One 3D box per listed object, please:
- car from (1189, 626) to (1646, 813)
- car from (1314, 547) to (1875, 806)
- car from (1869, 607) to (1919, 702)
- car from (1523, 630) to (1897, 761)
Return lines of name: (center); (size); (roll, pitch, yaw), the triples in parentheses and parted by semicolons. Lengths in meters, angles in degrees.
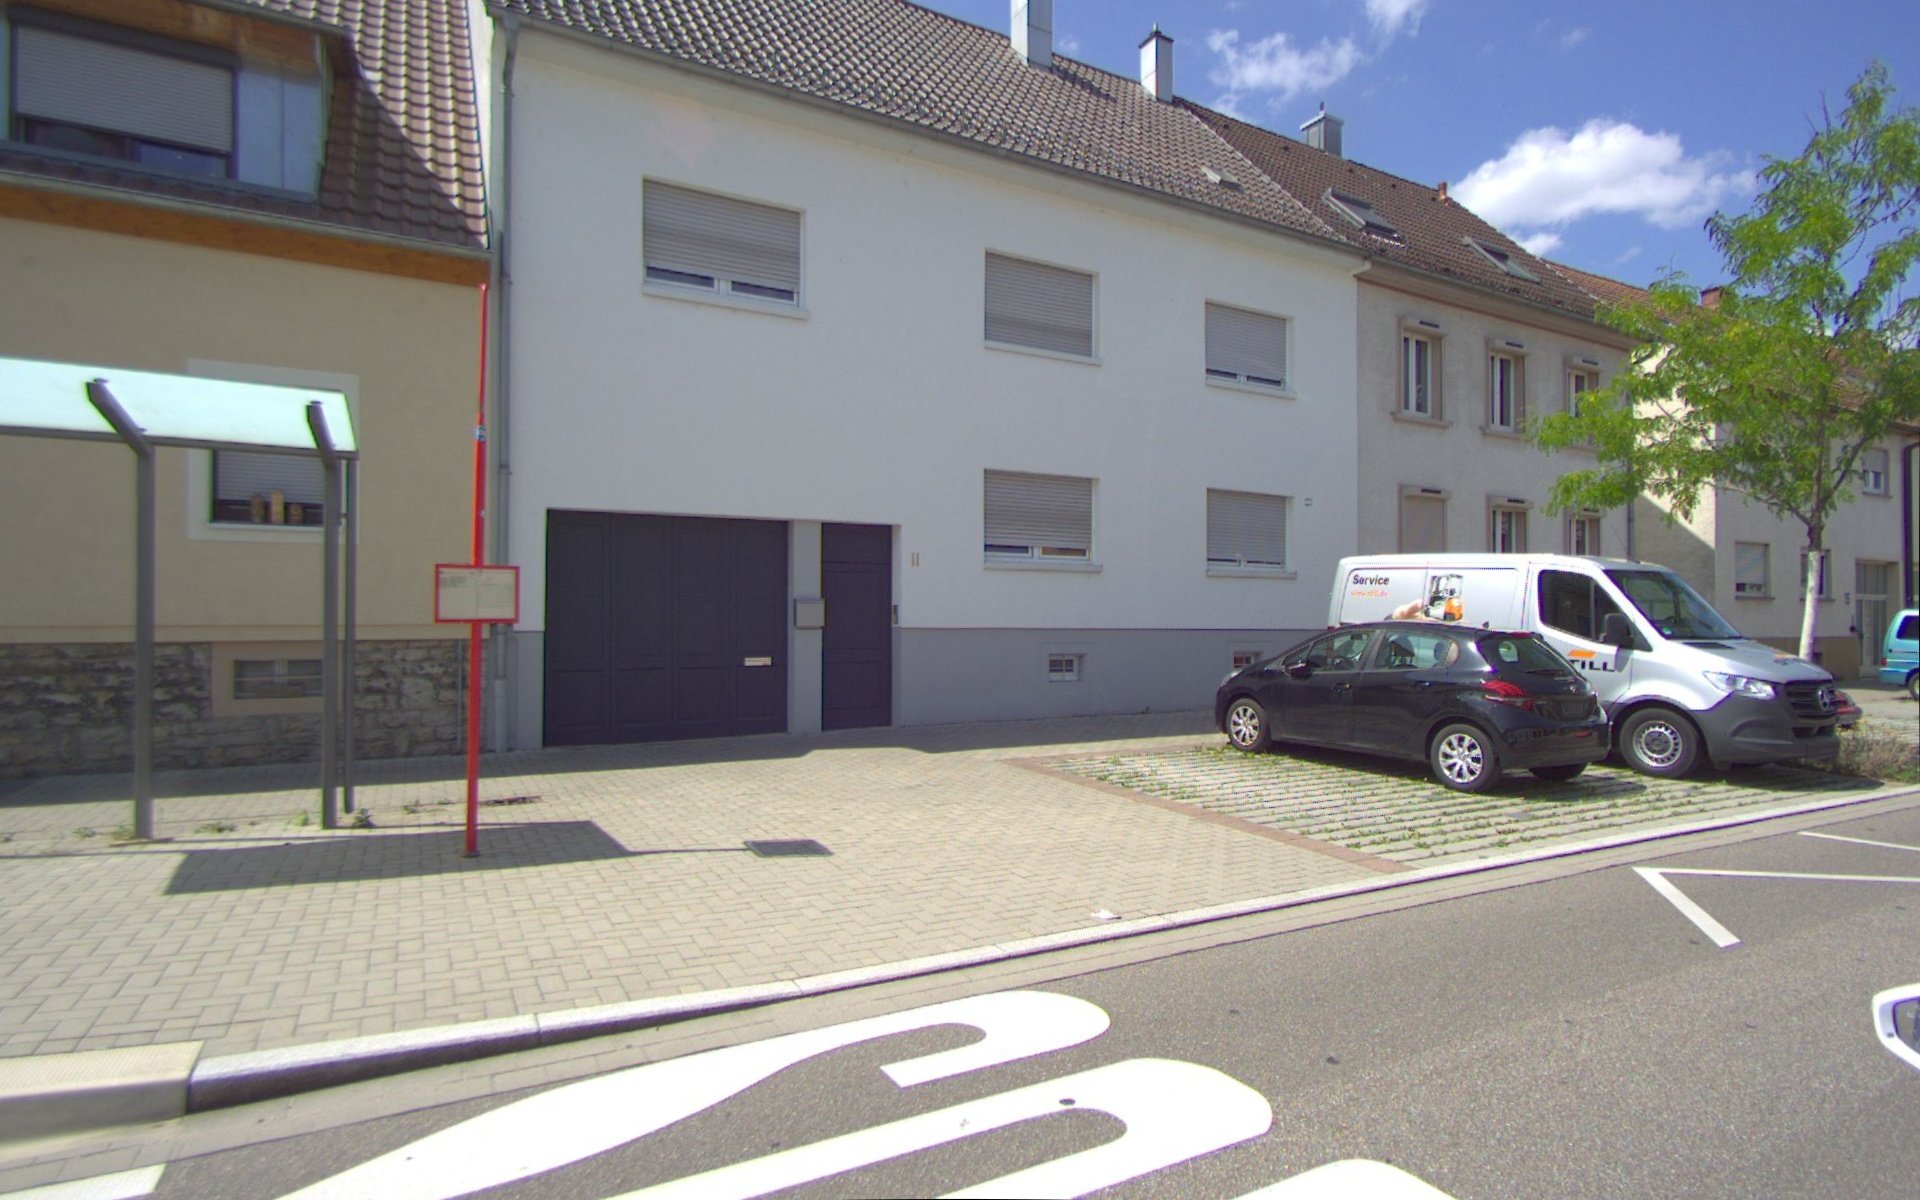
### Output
car: (4.467, 1.038, 10.402); (1.880, 1.465, 3.967); (1, -1, -31)
car: (6.956, 0.682, 11.756); (2.132, 2.319, 5.141); (1, 0, -30)
car: (21.143, 1.163, 19.589); (1.975, 1.932, 4.658); (2, 0, -28)
car: (10.094, 1.191, 13.832); (1.704, 1.404, 3.767); (2, 0, -28)
